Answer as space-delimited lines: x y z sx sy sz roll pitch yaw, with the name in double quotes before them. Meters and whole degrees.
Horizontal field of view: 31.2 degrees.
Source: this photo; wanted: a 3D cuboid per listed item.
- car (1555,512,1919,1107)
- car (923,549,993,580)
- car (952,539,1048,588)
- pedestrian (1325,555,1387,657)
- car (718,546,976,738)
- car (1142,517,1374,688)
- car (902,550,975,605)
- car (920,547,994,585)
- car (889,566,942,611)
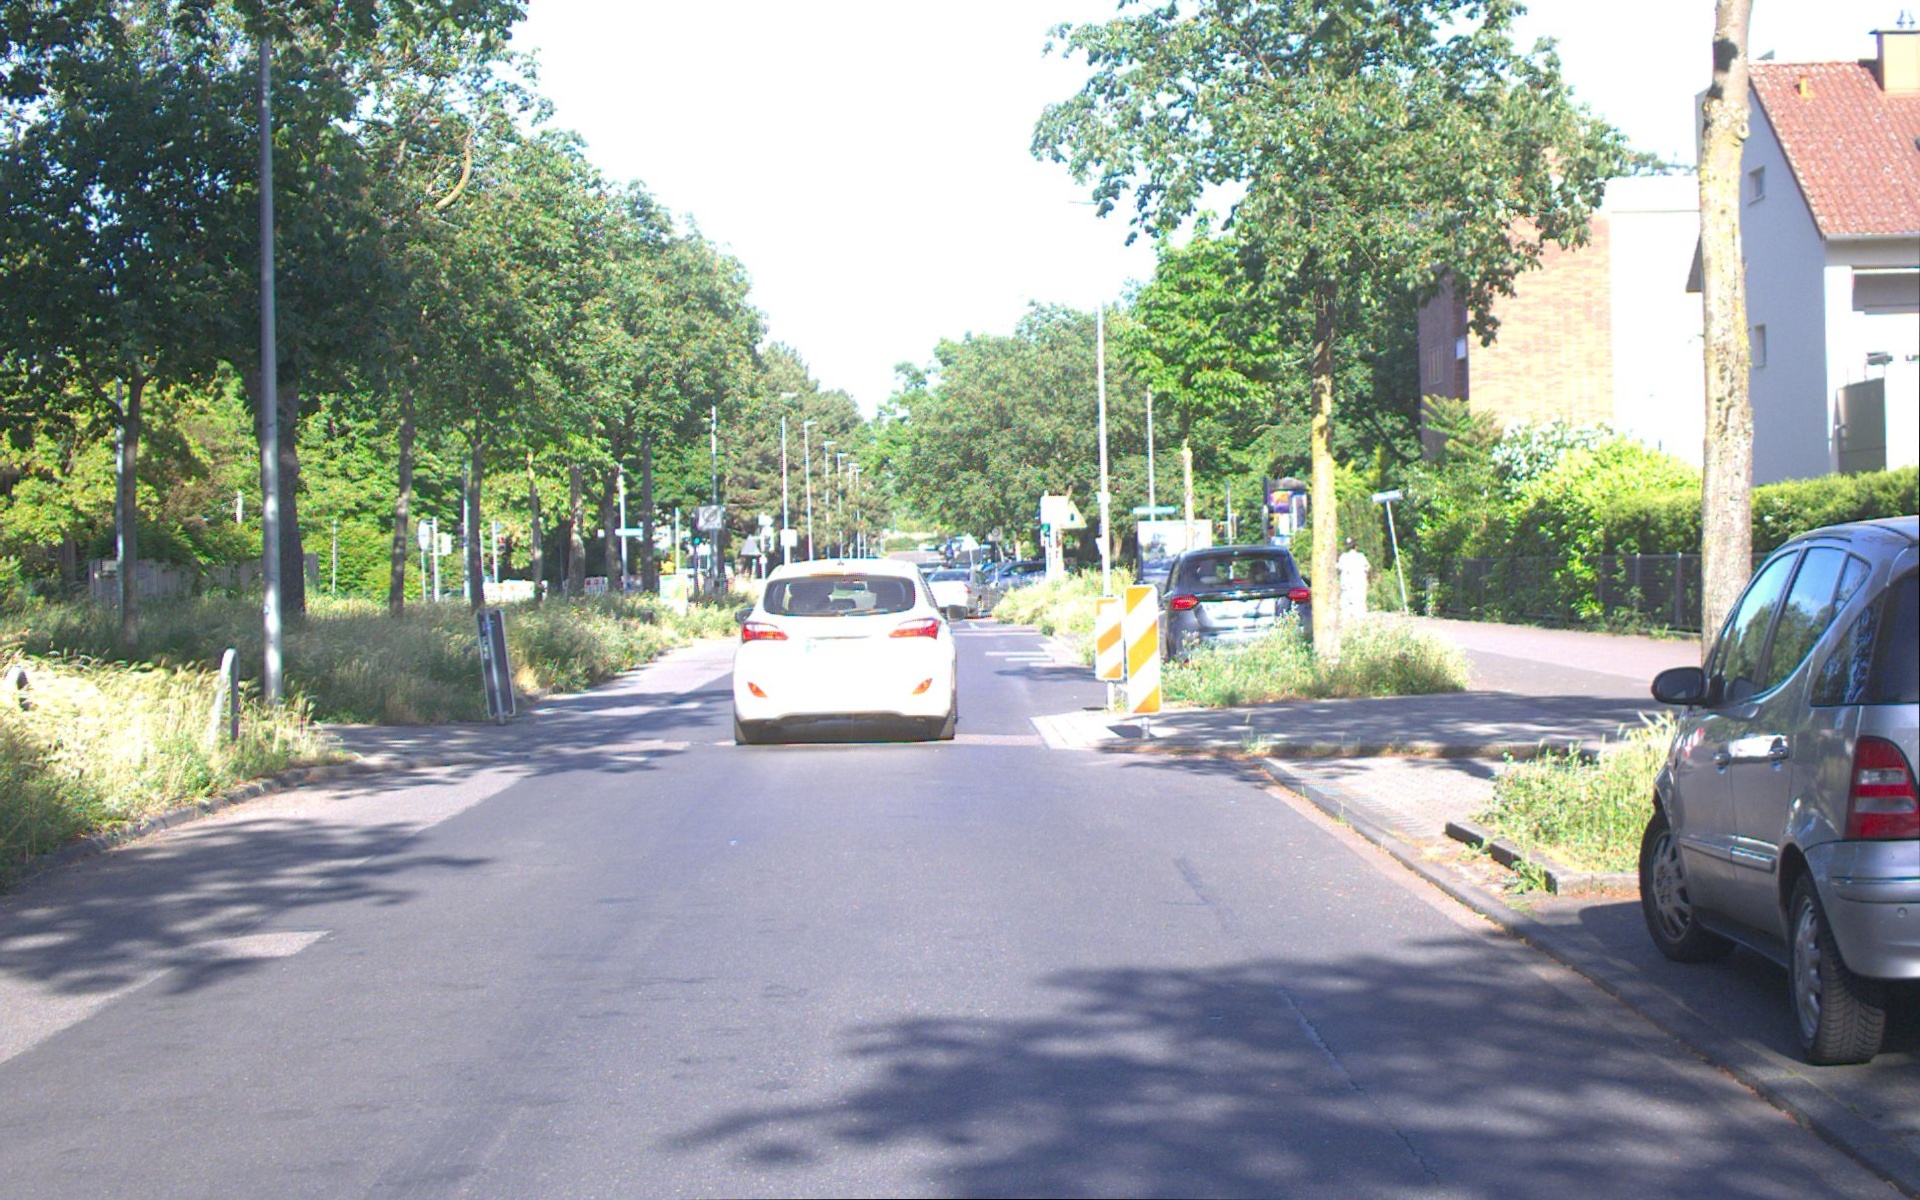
"car" 3.218 0.573 11.568 1.610 1.616 4.382 2 1 0
"car" -0.127 -2.060 199.139 3.986 1.744 2.000 -1 1 -3
"car" 1.703 -1.557 146.865 3.986 2.007 2.000 -1 1 -2
"pedestrian" 7.928 0.112 68.840 1.112 2.007 0.922 -1 1 0
"car" -0.888 0.296 29.007 1.993 1.450 4.225 -1 1 0
"car" 3.273 0.022 38.541 1.993 1.722 4.000 -3 0 -3
"car" -0.630 -0.652 98.874 1.993 1.503 3.658 2 1 -1
"car" -0.174 -1.866 188.867 3.986 2.007 2.000 -1 1 -2
"car" -1.571 -0.406 121.581 1.816 1.503 3.658 2 1 -1
